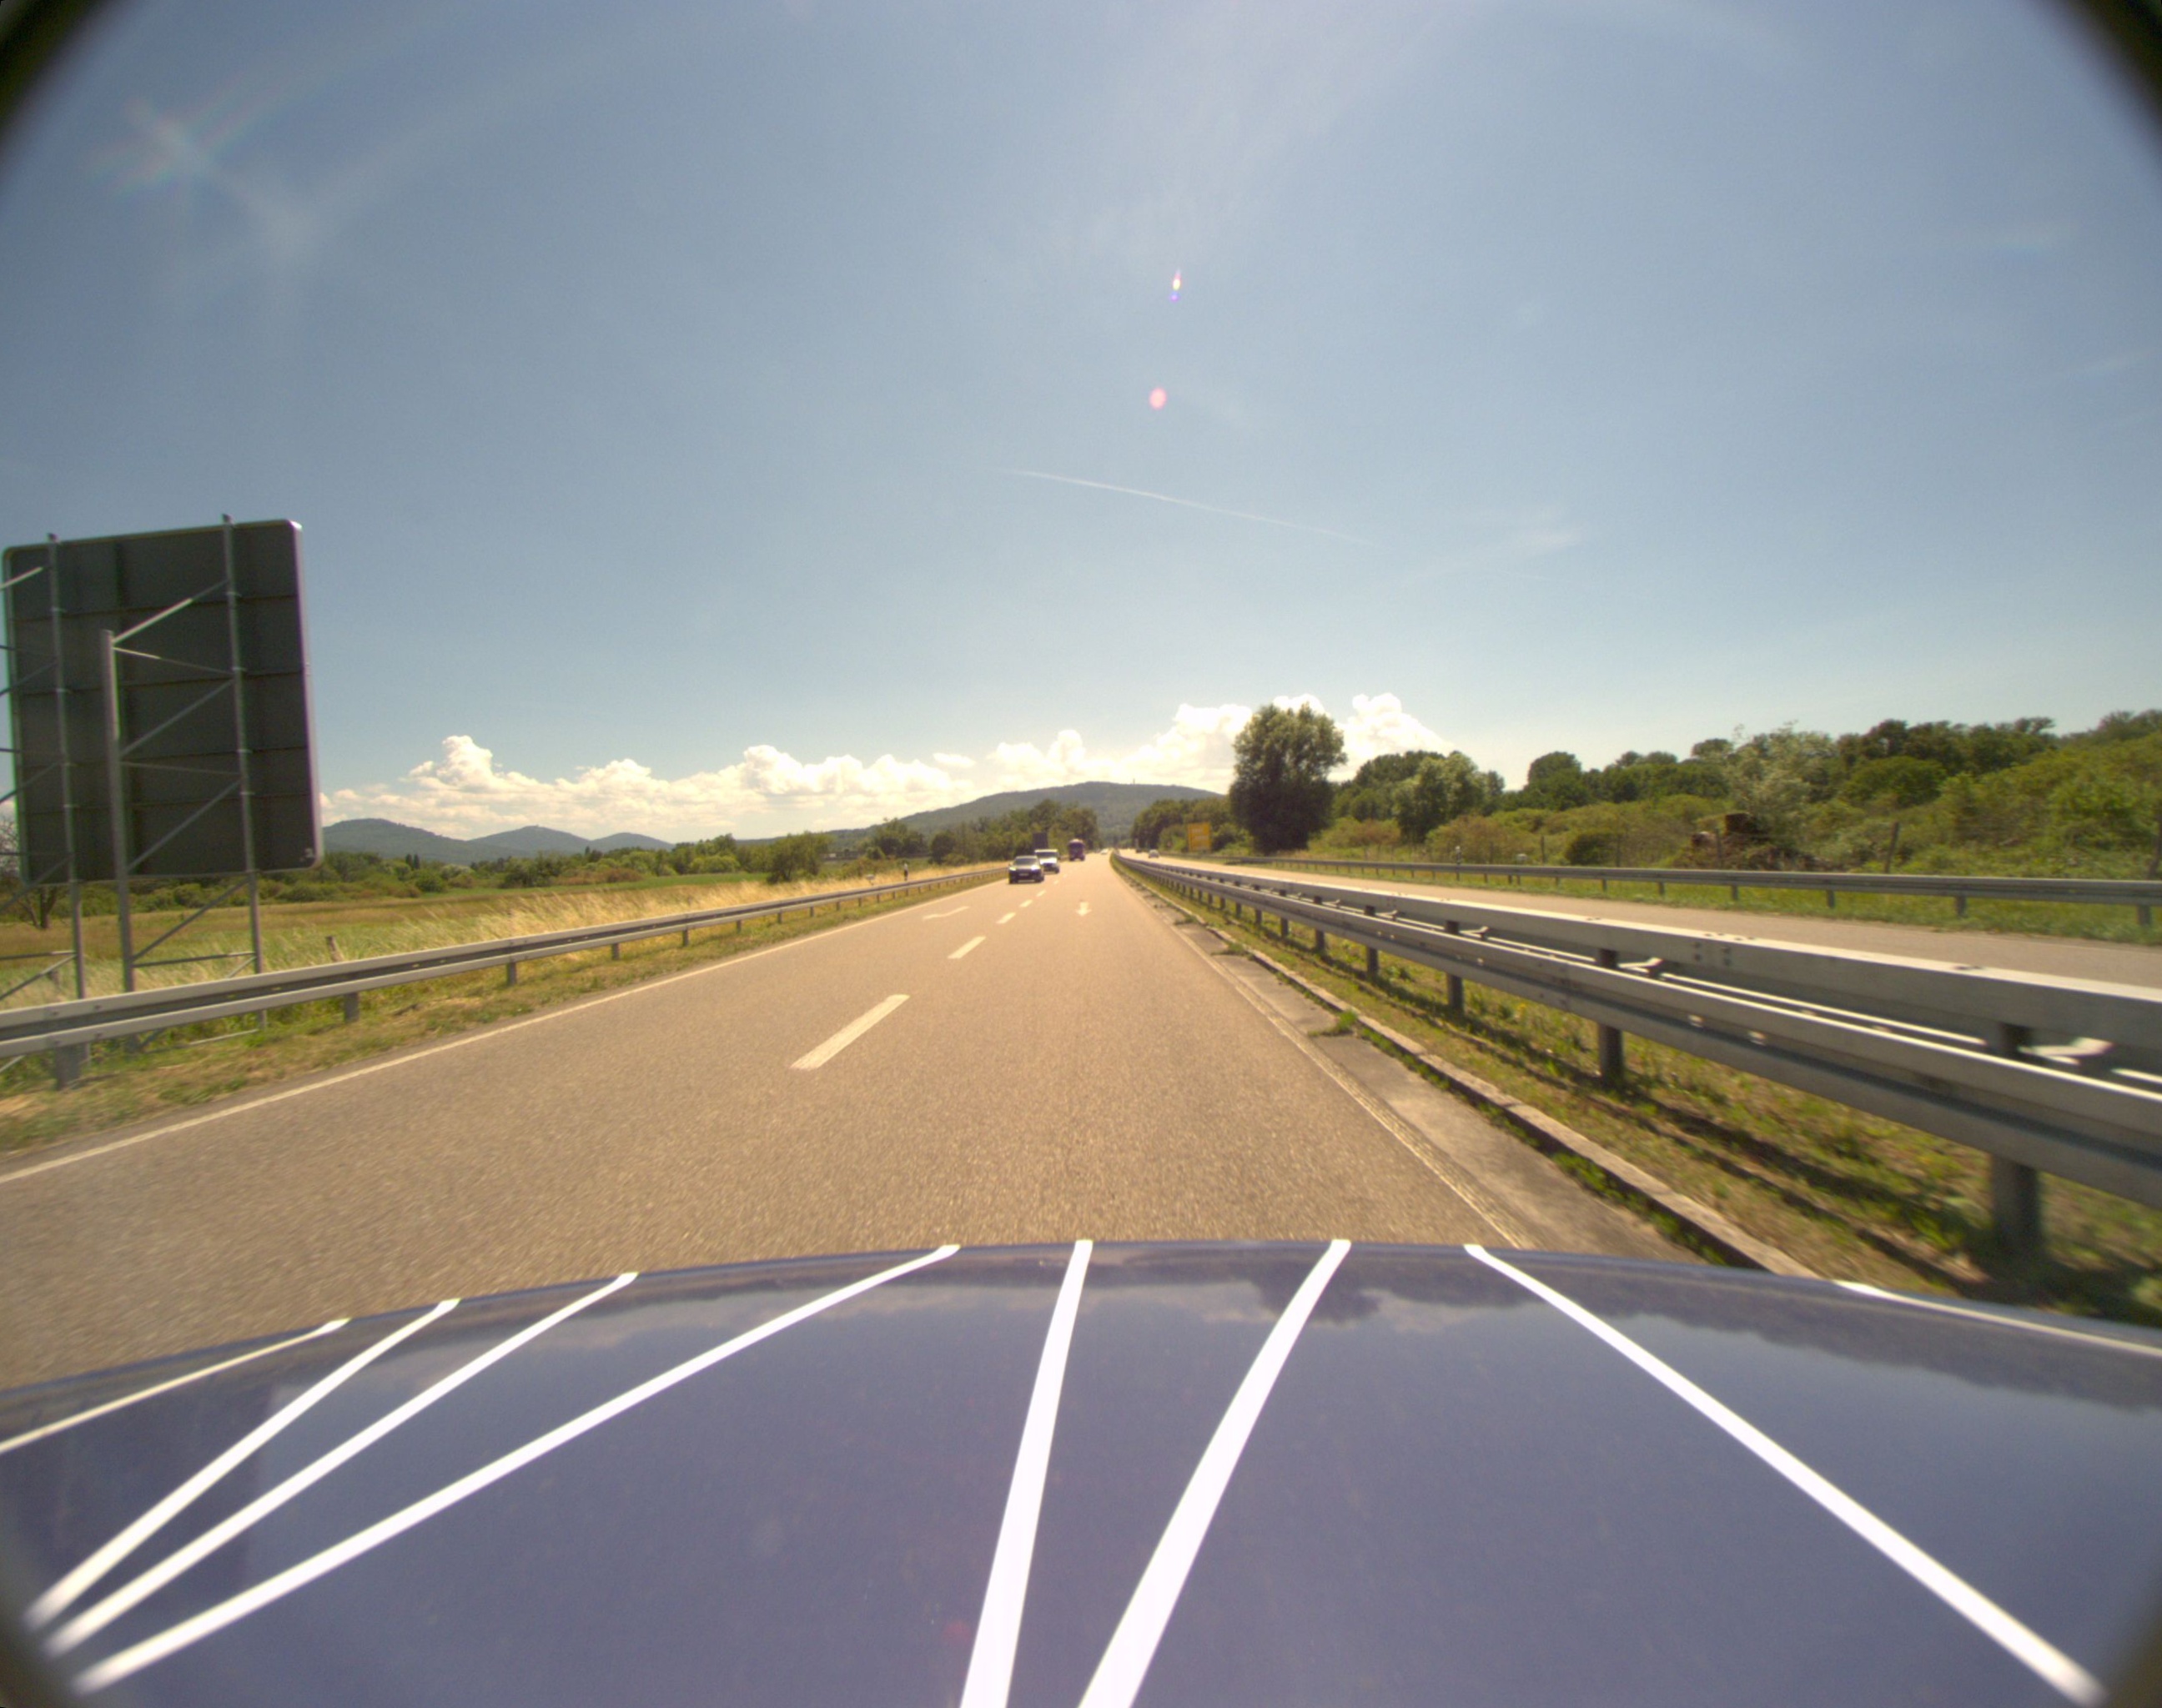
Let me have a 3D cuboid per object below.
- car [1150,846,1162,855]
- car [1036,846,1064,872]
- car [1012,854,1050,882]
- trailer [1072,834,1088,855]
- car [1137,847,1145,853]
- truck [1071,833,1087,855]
[{"bbox_3d":[13.815,-0.606,140.807,1.831,1.489,4.102,-4,1,1],"label":"car"},{"bbox_3d":[-2.524,0.393,62.723,2.011,1.977,5.034,-3,0,0],"label":"car"},{"bbox_3d":[-2.855,0.770,44.083,1.789,1.544,4.019,-1,0,2],"label":"car"},{"bbox_3d":[-0.141,-1.714,138.817,2.604,3.608,8.615,-2,0,2],"label":"trailer"},{"bbox_3d":[17.843,-1.125,227.313,1.998,1.627,4.874,-5,0,2],"label":"car"},{"bbox_3d":[-0.324,-1.709,134.208,2.604,3.670,5.940,-2,0,2],"label":"truck"}]
